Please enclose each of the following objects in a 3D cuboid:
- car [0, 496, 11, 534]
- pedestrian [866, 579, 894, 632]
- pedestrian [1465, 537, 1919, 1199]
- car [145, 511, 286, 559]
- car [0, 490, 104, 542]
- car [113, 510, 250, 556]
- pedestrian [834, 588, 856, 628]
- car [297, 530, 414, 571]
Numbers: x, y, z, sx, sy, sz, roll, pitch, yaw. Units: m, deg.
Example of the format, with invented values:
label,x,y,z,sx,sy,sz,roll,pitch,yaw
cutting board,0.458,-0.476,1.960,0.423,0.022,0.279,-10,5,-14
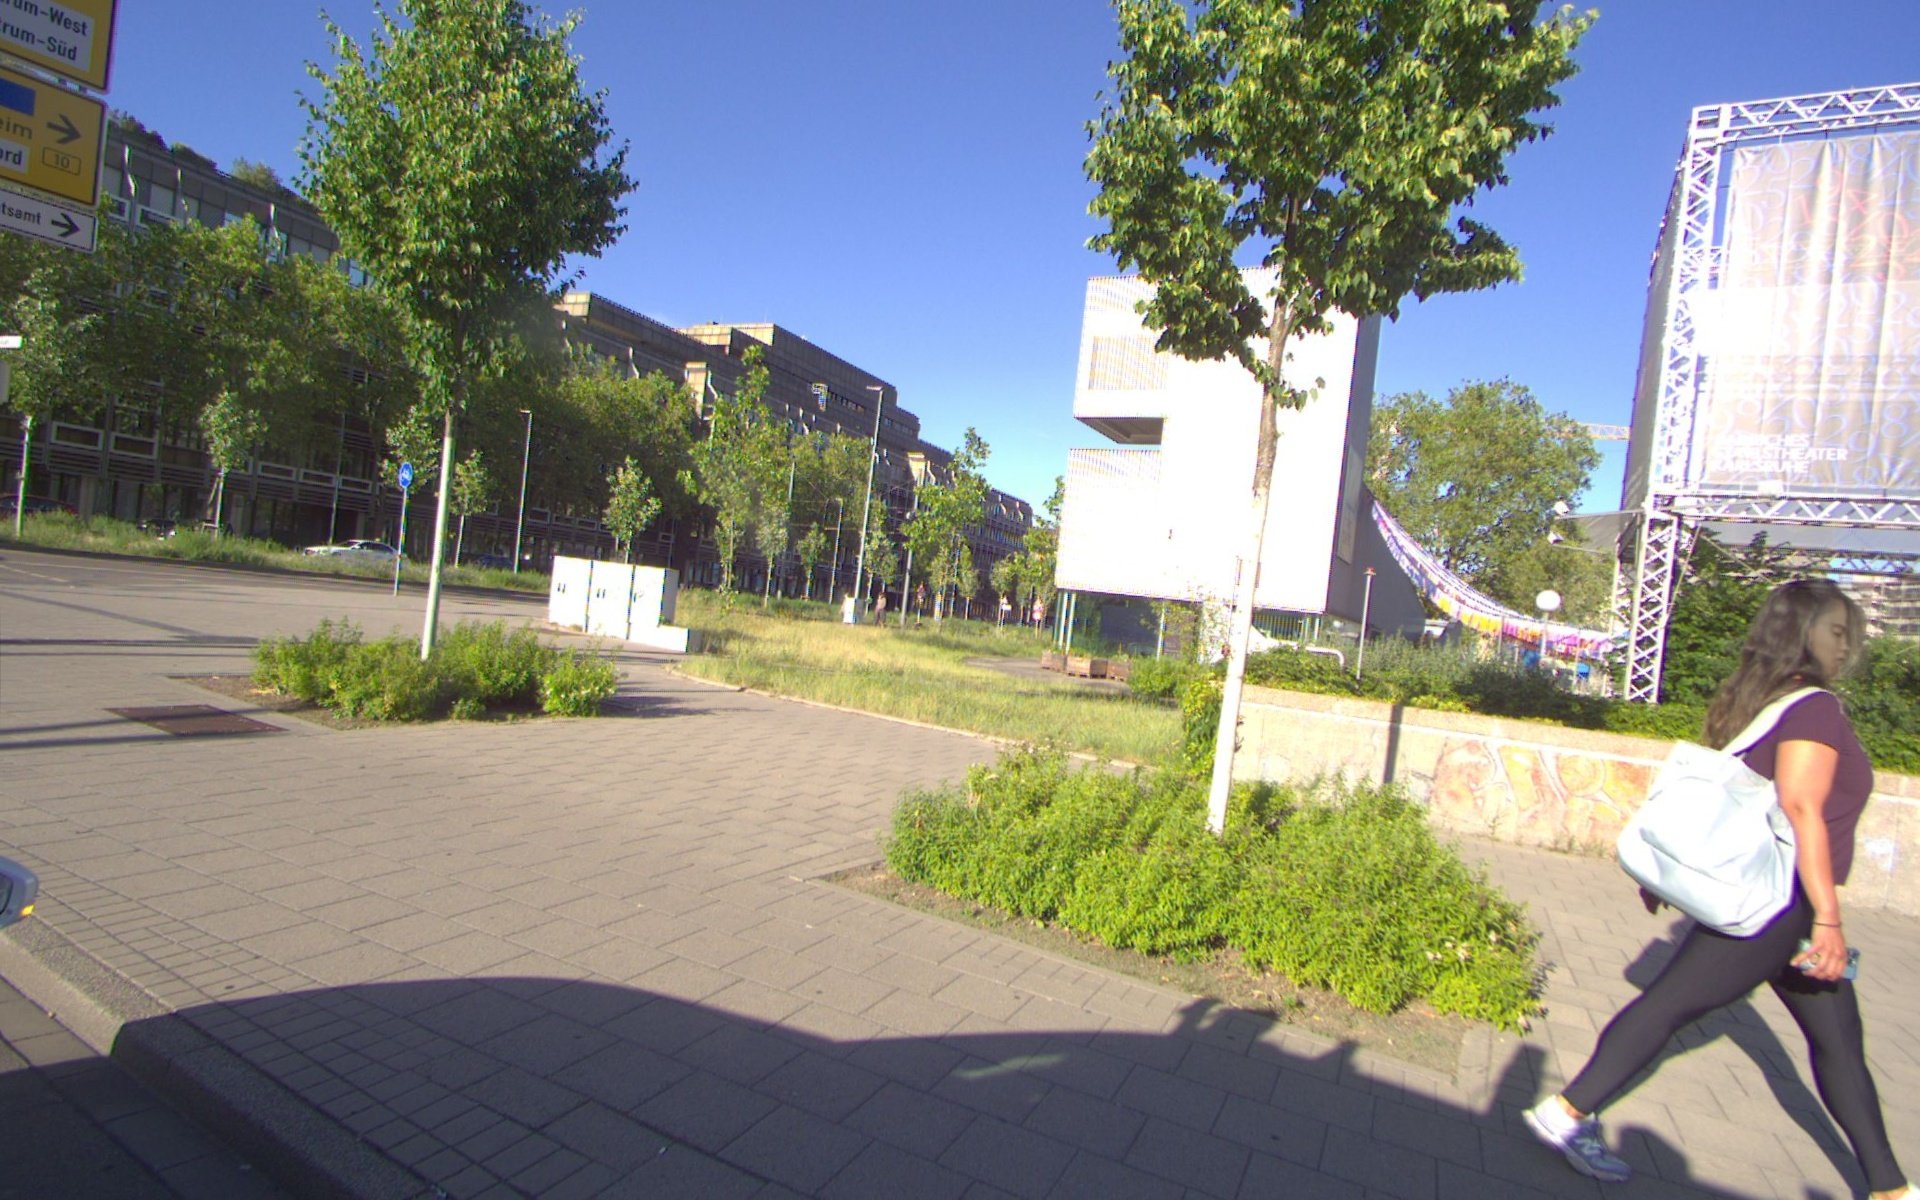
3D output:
label,x,y,z,sx,sy,sz,roll,pitch,yaw
car,-37.925,-3.465,36.485,1.965,1.373,4.641,8,0,27
pedestrian,-3.230,0.232,40.591,0.669,2.039,0.620,7,1,23
pedestrian,2.175,0.771,2.724,0.817,1.771,1.031,5,1,-38
car,-33.409,-2.902,45.314,1.965,1.373,4.641,8,0,27
car,-33.295,-3.083,35.201,1.965,1.373,4.641,8,0,27
car,-36.408,-3.092,47.190,1.965,1.373,4.641,8,0,27
pedestrian,-4.824,0.333,42.149,0.513,1.591,0.620,7,1,23
car,-30.460,-2.477,50.821,1.965,1.373,4.641,8,0,27
